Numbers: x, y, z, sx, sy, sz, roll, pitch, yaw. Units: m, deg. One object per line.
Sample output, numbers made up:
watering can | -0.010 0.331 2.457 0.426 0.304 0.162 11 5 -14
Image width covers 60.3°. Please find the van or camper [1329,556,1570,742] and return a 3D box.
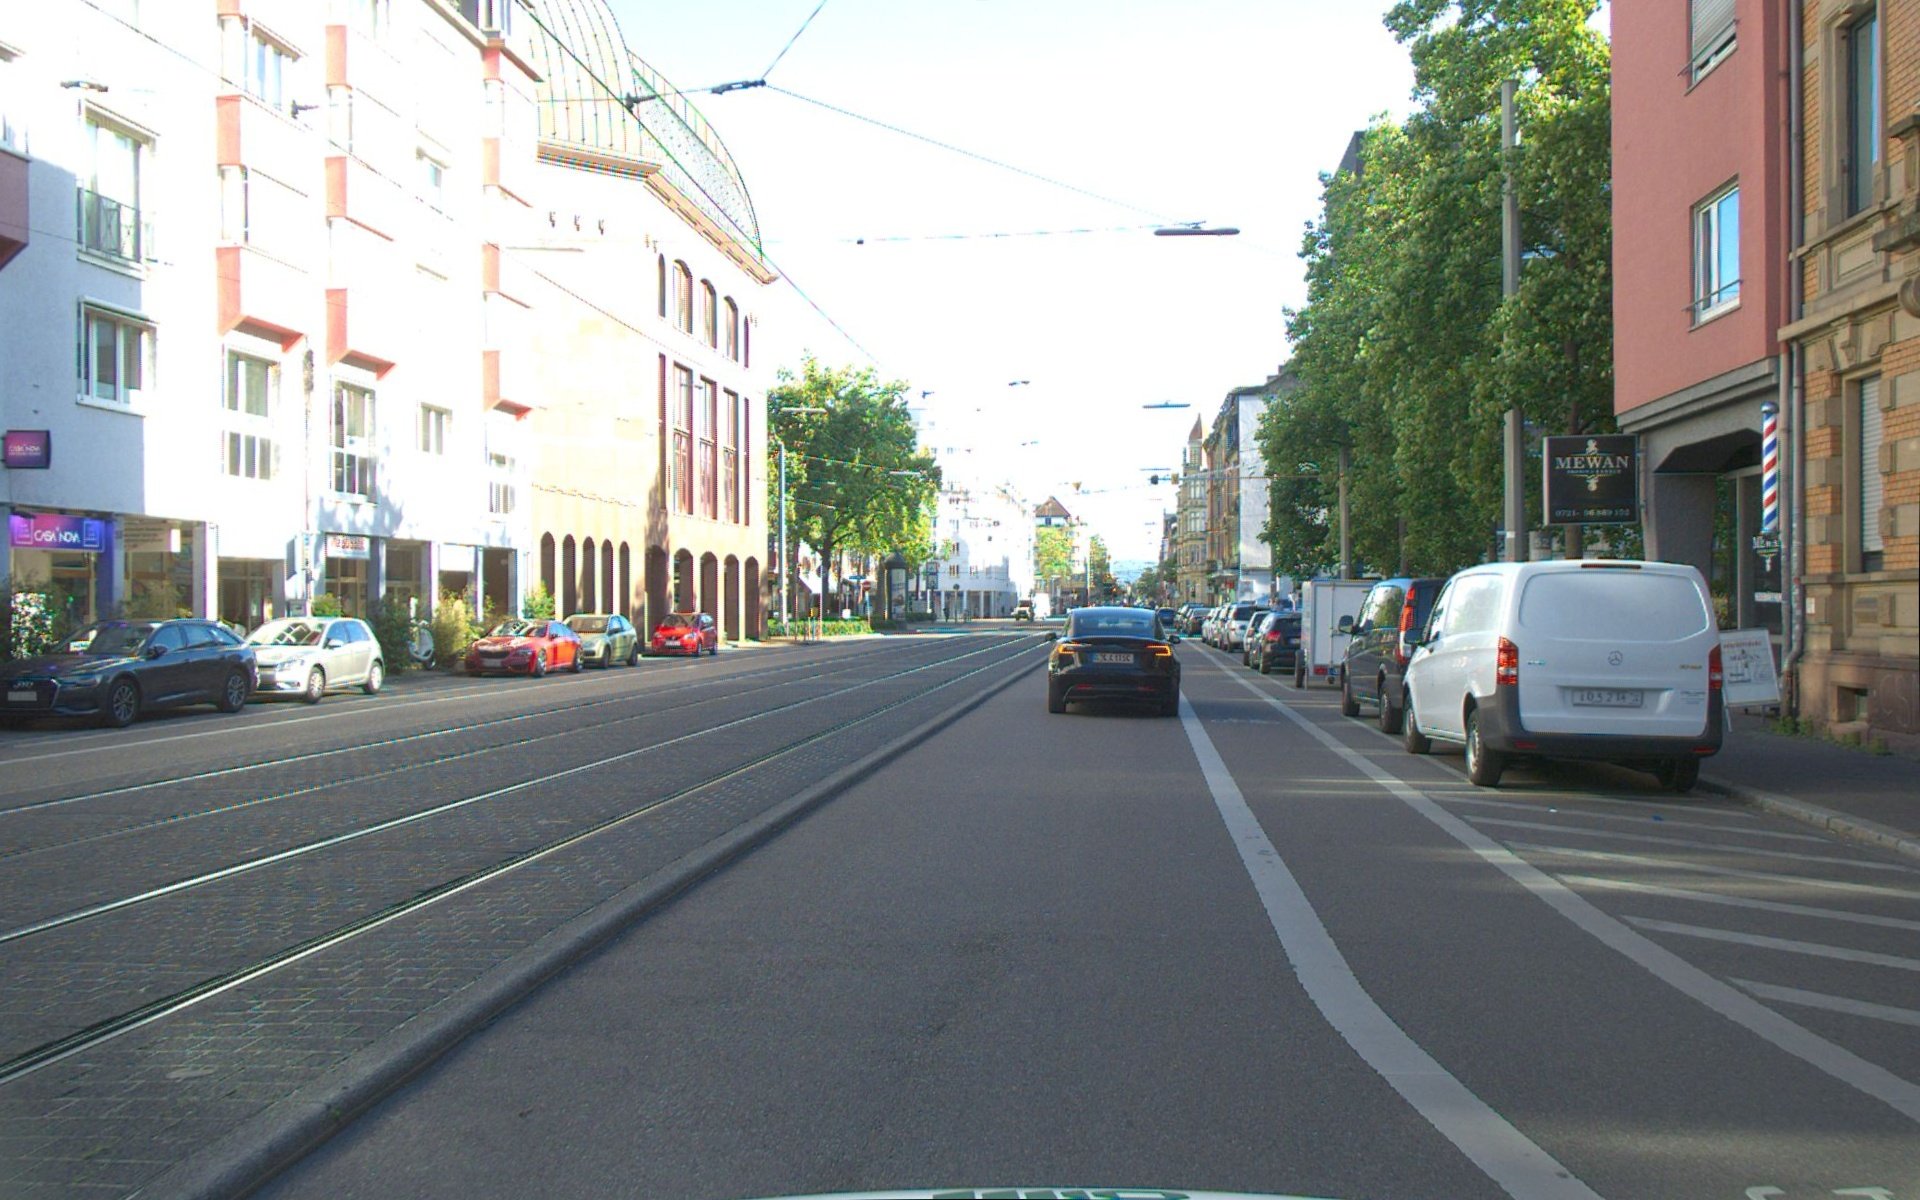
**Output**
van or camper | 6.210 0.583 21.656 1.929 2.081 5.334 1 0 5

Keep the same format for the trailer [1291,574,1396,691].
trailer | 7.546 0.628 32.852 1.625 2.154 3.845 1 -1 8

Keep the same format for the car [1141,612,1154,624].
car | 25.450 2.468 224.383 1.807 1.620 4.003 -1 -1 7

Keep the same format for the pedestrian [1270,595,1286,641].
pedestrian | 12.683 0.724 66.019 0.598 1.840 0.603 -1 -1 11

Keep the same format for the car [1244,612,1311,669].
car | 8.742 1.086 45.543 1.712 1.468 4.318 1 0 11

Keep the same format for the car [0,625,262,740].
car | -12.470 1.140 24.496 1.861 1.483 4.829 0 0 5

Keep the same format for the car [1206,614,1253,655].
car | 11.015 1.391 67.720 1.509 1.597 4.445 1 0 5

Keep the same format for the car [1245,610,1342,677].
car | 8.070 1.032 40.324 1.764 1.460 4.326 2 -1 5

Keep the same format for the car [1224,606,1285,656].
car | 10.190 1.040 57.460 1.677 1.618 4.067 1 0 5

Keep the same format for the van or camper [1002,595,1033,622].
van or camper | 6.084 0.935 174.077 2.094 2.700 6.886 -1 -1 11

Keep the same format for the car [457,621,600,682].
car | -10.691 1.235 41.359 1.919 1.348 4.823 1 0 5

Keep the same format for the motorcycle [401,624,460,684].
motorcycle | -12.374 1.250 38.740 0.508 1.320 2.083 1 0 5

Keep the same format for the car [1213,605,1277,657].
car | 10.684 1.123 62.280 1.885 1.866 4.714 1 0 4

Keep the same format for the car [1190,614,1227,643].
car | 12.928 1.471 86.303 1.674 1.482 4.553 1 -1 6

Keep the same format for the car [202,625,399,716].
car | -11.895 1.230 30.132 1.714 1.500 4.209 0 0 3

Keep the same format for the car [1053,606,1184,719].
car | 2.229 0.813 23.394 1.683 1.430 3.712 1 0 5

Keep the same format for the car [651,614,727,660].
car | -9.215 1.235 56.413 1.624 1.447 3.622 1 0 6

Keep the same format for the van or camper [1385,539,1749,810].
van or camper | 5.448 0.621 15.680 1.890 2.072 5.478 1 -1 6

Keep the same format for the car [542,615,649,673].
car | -10.139 1.183 46.302 1.633 1.494 4.293 1 0 6

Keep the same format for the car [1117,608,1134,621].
car | 21.078 1.844 210.750 1.952 1.552 4.001 0 0 2

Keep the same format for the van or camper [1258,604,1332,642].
van or camper | 21.617 1.482 106.988 4.545 2.174 1.989 -3 -1 10

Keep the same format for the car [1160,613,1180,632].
car | 17.316 1.857 136.436 1.559 1.458 3.689 -1 -1 7
